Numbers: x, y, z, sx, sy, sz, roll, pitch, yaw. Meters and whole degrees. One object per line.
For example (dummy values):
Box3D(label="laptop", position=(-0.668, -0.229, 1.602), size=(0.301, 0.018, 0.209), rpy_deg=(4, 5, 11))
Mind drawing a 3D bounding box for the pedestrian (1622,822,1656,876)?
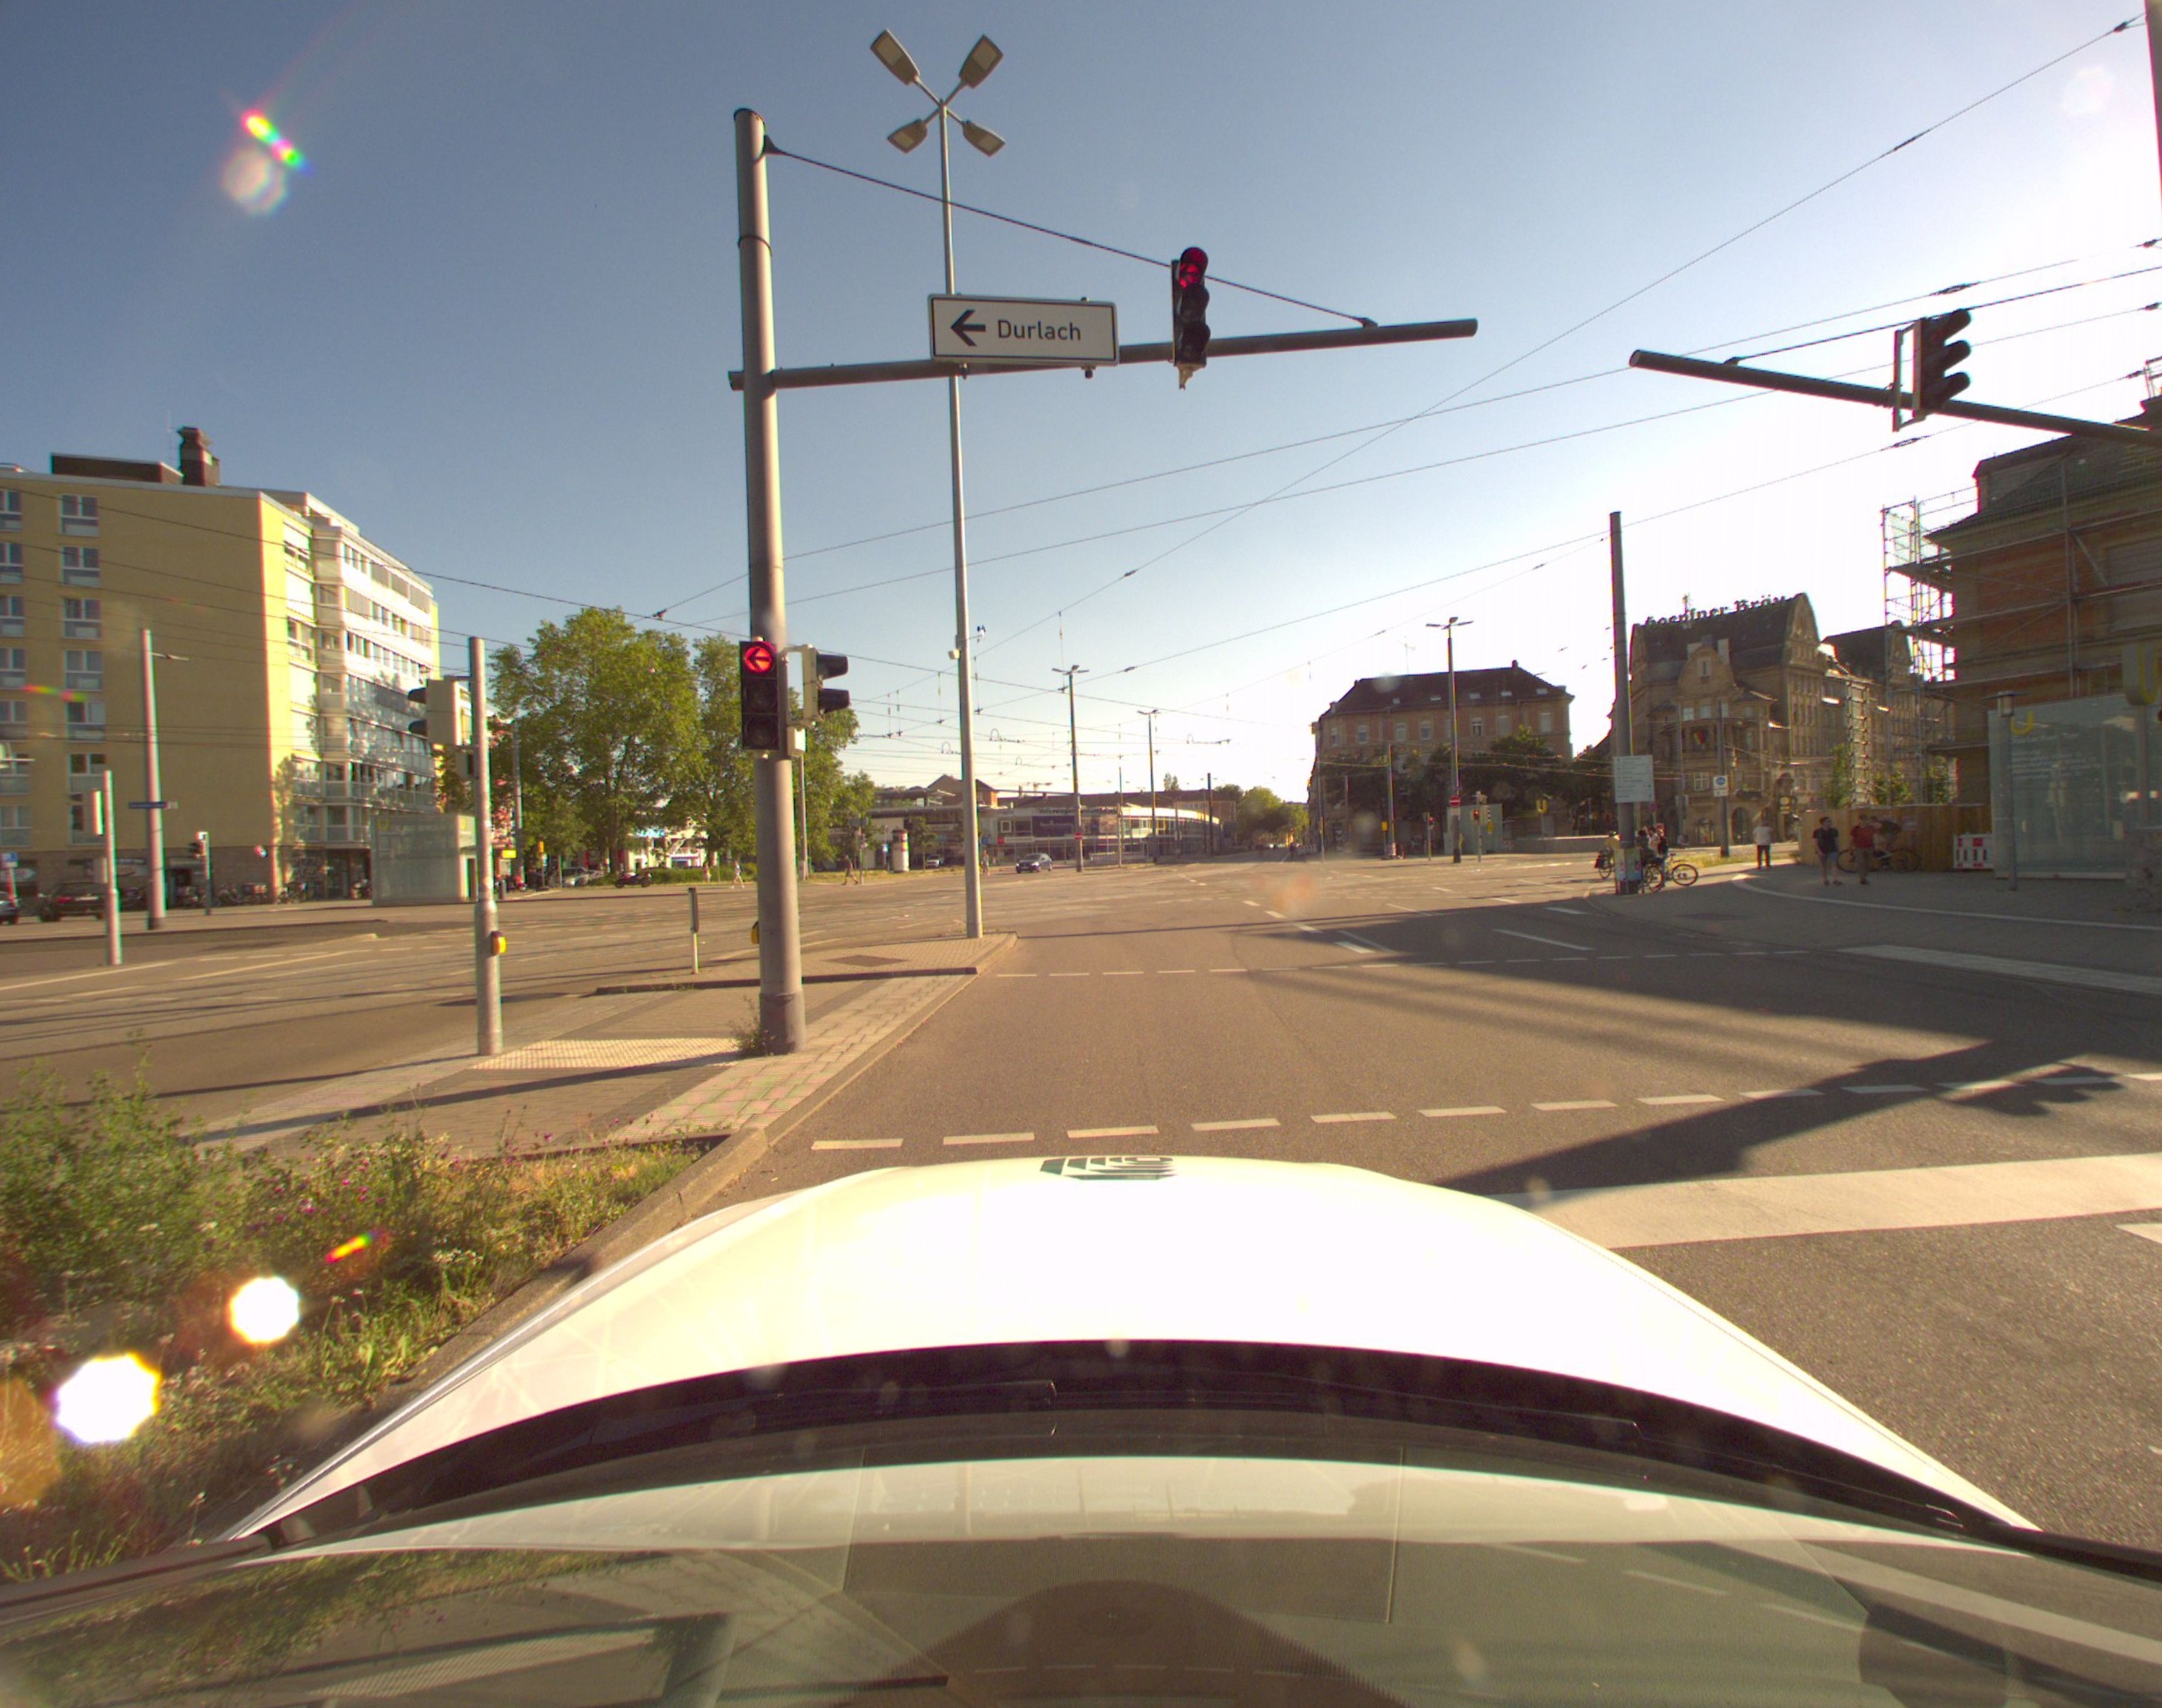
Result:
Box3D(label="pedestrian", position=(20.982, -0.176, 30.636), size=(0.730, 2.014, 0.760), rpy_deg=(0, -1, -6))

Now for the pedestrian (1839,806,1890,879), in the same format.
Box3D(label="pedestrian", position=(19.867, -0.290, 20.645), size=(0.672, 1.807, 0.680), rpy_deg=(0, -1, -19))

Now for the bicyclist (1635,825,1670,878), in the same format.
Box3D(label="bicyclist", position=(15.927, -0.053, 22.700), size=(0.701, 1.439, 0.953), rpy_deg=(-1, -1, 31))

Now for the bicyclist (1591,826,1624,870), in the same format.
Box3D(label="bicyclist", position=(19.166, -0.212, 29.637), size=(0.514, 1.557, 0.945), rpy_deg=(0, -1, -6))

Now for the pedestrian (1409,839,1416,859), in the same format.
Box3D(label="pedestrian", position=(34.763, -0.547, 85.380), size=(0.598, 2.013, 0.649), rpy_deg=(-2, 0, 16))

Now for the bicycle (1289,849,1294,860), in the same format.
Box3D(label="bicycle", position=(18.968, 0.057, 73.237), size=(0.407, 0.941, 1.852), rpy_deg=(-1, -1, 15))

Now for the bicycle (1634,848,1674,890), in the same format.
Box3D(label="bicycle", position=(15.837, 0.396, 22.546), size=(0.692, 1.049, 2.335), rpy_deg=(-2, 0, 31))

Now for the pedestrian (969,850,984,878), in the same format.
Box3D(label="pedestrian", position=(-7.028, 0.652, 54.890), size=(0.790, 1.886, 0.760), rpy_deg=(-1, -1, 9))

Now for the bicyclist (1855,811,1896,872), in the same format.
Box3D(label="bicyclist", position=(23.727, -0.372, 24.332), size=(0.785, 1.779, 0.526), rpy_deg=(-1, -1, 37))

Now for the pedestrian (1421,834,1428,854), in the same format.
Box3D(label="pedestrian", position=(36.042, -1.043, 85.399), size=(0.598, 2.013, 0.649), rpy_deg=(-2, 0, 16))

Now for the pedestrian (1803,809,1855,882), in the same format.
Box3D(label="pedestrian", position=(19.082, -0.206, 20.790), size=(0.672, 1.807, 0.680), rpy_deg=(-3, 0, -19))

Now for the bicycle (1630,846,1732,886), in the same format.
Box3D(label="bicycle", position=(17.345, 0.361, 23.633), size=(2.290, 1.049, 0.705), rpy_deg=(-3, -2, 32))

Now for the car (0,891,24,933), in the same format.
Box3D(label="car", position=(-47.059, 2.481, 34.859), size=(3.948, 1.706, 2.013), rpy_deg=(-1, -1, 35))

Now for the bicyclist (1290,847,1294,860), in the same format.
Box3D(label="bicyclist", position=(18.972, -0.048, 73.238), size=(0.405, 1.116, 0.400), rpy_deg=(-1, -1, 13))

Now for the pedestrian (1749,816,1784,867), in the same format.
Box3D(label="pedestrian", position=(24.698, -0.454, 29.337), size=(0.646, 1.814, 0.689), rpy_deg=(0, -1, -6))

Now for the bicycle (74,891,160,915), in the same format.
Box3D(label="bicycle", position=(-50.268, 2.549, 42.487), size=(3.041, 1.151, 0.637), rpy_deg=(0, -1, -16))

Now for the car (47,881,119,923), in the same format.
Box3D(label="car", position=(-44.274, 2.075, 36.111), size=(3.948, 1.706, 1.730), rpy_deg=(-1, -1, 35))

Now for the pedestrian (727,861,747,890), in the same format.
Box3D(label="pedestrian", position=(-20.455, 1.258, 48.398), size=(0.790, 1.706, 0.760), rpy_deg=(-1, -1, 9))

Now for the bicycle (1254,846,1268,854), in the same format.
Box3D(label="bicycle", position=(22.352, -0.547, 101.104), size=(0.662, 0.952, 1.583), rpy_deg=(0, -1, -33))

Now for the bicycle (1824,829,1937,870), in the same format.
Box3D(label="bicycle", position=(23.767, -0.109, 24.284), size=(2.290, 1.049, 0.539), rpy_deg=(-5, -1, 36))

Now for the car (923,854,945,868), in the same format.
Box3D(label="car", position=(-18.054, 0.841, 100.002), size=(1.988, 1.750, 3.997), rpy_deg=(0, -1, -1))

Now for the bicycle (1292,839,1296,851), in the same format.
Box3D(label="bicycle", position=(35.176, -1.490, 134.301), size=(0.613, 2.014, 2.410), rpy_deg=(-1, -1, 16))

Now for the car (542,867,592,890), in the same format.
Box3D(label="car", position=(-37.309, 1.720, 59.244), size=(1.772, 1.567, 3.983), rpy_deg=(0, -1, -12))

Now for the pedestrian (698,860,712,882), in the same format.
Box3D(label="pedestrian", position=(-29.019, 1.336, 62.852), size=(0.854, 1.694, 0.497), rpy_deg=(0, -1, -1))

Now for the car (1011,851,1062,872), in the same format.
Box3D(label="car", position=(-3.357, 0.563, 62.073), size=(1.975, 1.585, 4.024), rpy_deg=(-1, -1, 29))

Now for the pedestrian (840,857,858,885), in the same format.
Box3D(label="pedestrian", position=(-14.538, 1.074, 51.063), size=(0.790, 1.706, 0.760), rpy_deg=(-1, -1, 9))

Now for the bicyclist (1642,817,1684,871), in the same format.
Box3D(label="bicyclist", position=(17.029, -0.275, 23.831), size=(0.935, 1.557, 0.715), rpy_deg=(-1, -1, 32))

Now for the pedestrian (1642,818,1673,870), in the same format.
Box3D(label="pedestrian", position=(21.738, -0.368, 30.739), size=(0.646, 1.922, 0.689), rpy_deg=(0, -1, -6))

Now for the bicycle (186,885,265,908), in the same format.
Box3D(label="bicycle", position=(-46.433, 2.298, 44.227), size=(3.041, 1.151, 0.637), rpy_deg=(0, -1, -16))

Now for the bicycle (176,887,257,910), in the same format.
Box3D(label="bicycle", position=(-46.225, 2.387, 43.586), size=(3.041, 1.151, 0.637), rpy_deg=(0, -1, -16))

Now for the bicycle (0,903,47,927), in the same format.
Box3D(label="bicycle", position=(-54.495, 3.091, 41.113), size=(3.041, 1.151, 0.637), rpy_deg=(0, -1, -16))

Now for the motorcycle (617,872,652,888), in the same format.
Box3D(label="motorcycle", position=(-27.266, 1.577, 49.762), size=(1.779, 0.914, 0.675), rpy_deg=(0, -1, -19))

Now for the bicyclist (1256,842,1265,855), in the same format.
Box3D(label="bicyclist", position=(22.302, -0.709, 101.136), size=(0.777, 1.577, 0.754), rpy_deg=(0, -1, -32))

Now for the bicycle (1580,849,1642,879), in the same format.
Box3D(label="bicycle", position=(19.185, 0.339, 29.556), size=(0.533, 1.049, 2.315), rpy_deg=(0, 1, -6))

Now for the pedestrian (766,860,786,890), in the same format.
Box3D(label="pedestrian", position=(-17.202, 1.176, 45.951), size=(0.790, 1.706, 0.760), rpy_deg=(-1, -1, 9))

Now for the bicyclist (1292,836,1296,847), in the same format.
Box3D(label="bicyclist", position=(35.162, -2.011, 134.155), size=(0.595, 1.809, 0.830), rpy_deg=(-1, -1, 15))

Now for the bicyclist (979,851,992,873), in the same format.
Box3D(label="bicyclist", position=(-7.057, 0.573, 60.124), size=(0.593, 1.615, 0.826), rpy_deg=(-1, -1, 19))

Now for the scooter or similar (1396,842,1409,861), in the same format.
Box3D(label="scooter or similar", position=(24.739, -0.180, 62.732), size=(0.780, 1.376, 1.916), rpy_deg=(-1, -1, 16))

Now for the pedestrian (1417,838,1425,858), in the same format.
Box3D(label="pedestrian", position=(35.243, -0.633, 84.380), size=(0.598, 2.013, 0.649), rpy_deg=(-2, 0, 16))

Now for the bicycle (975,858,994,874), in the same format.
Box3D(label="bicycle", position=(-7.105, 0.882, 59.977), size=(0.607, 1.189, 1.878), rpy_deg=(-1, -1, 19))
